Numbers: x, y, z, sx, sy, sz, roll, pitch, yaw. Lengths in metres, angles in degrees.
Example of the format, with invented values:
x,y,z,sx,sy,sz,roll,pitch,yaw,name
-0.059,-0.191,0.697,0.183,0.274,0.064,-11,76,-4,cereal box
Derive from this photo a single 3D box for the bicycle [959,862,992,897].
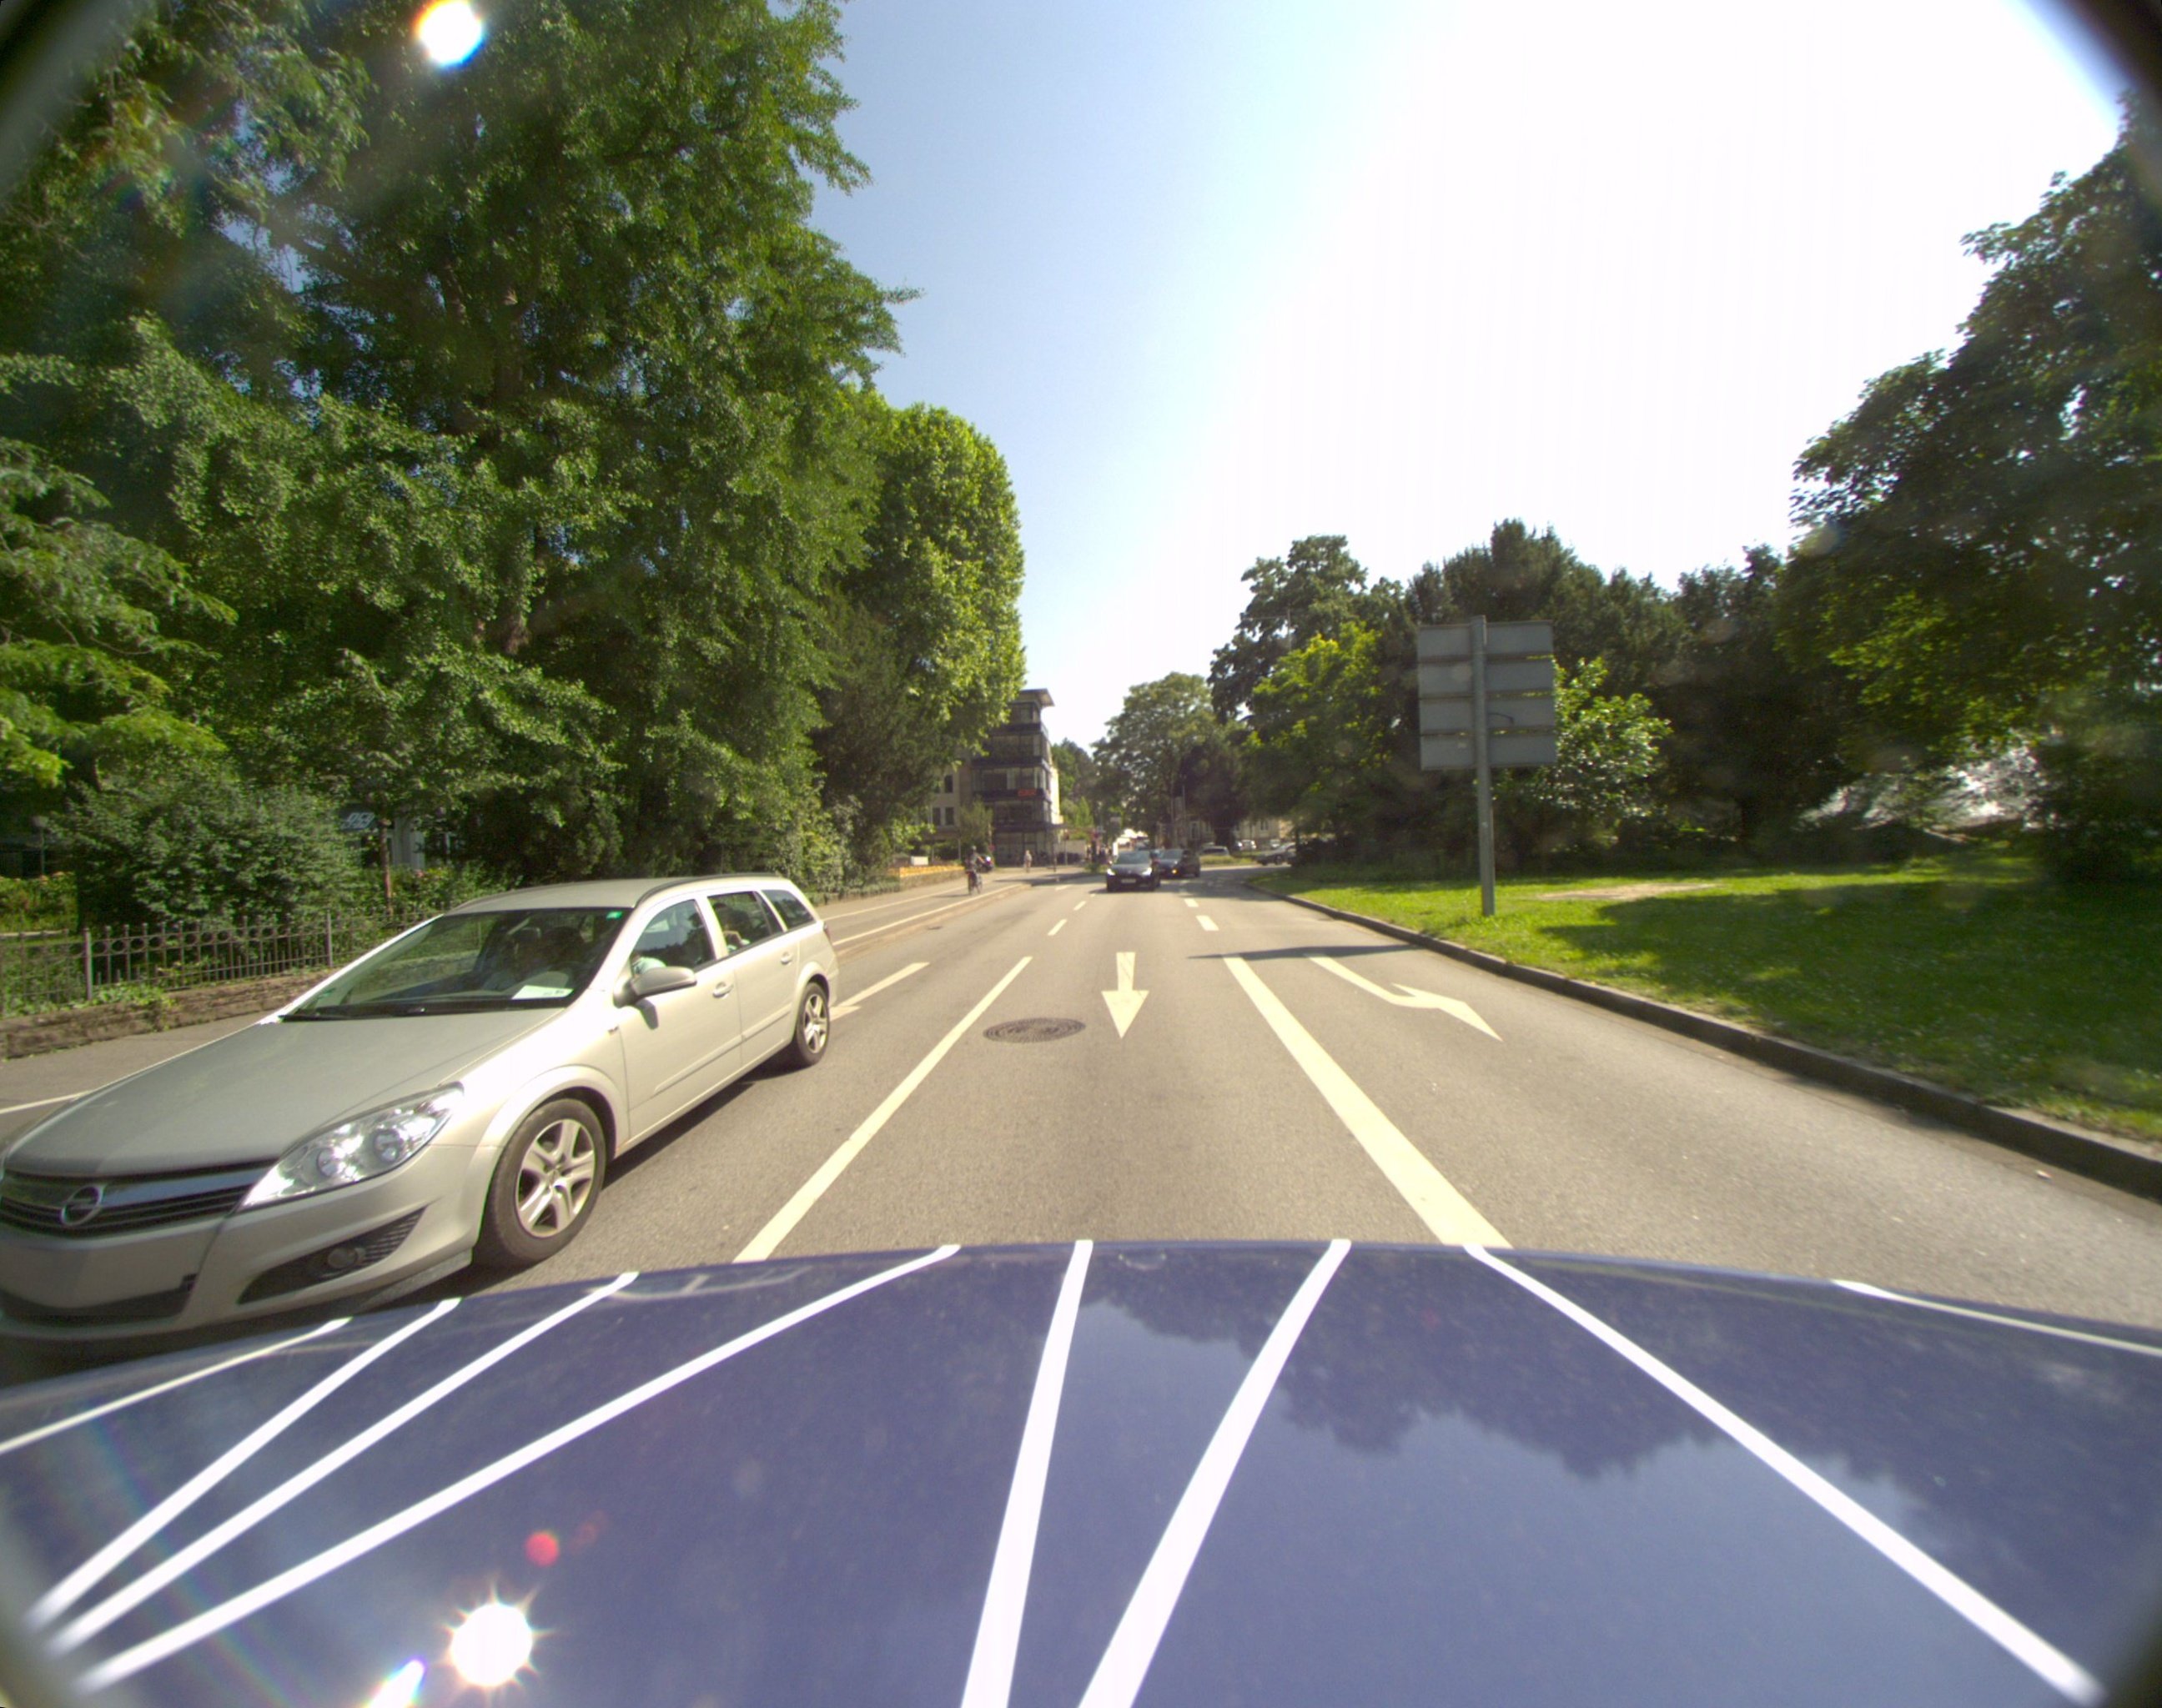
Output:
x,y,z,sx,sy,sz,roll,pitch,yaw,name
-3.716,0.891,26.941,0.759,1.114,2.001,-1,2,2,bicycle

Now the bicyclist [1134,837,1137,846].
x,y,z,sx,sy,sz,roll,pitch,yaw,name
12.635,-2.906,176.046,0.573,2.002,0.908,-2,1,18,bicyclist

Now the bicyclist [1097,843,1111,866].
x,y,z,sx,sy,sz,roll,pitch,yaw,name
1.666,0.031,54.943,0.710,1.603,0.733,-2,1,21,bicyclist

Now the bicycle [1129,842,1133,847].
x,y,z,sx,sy,sz,roll,pitch,yaw,name
11.158,-2.148,170.789,0.566,1.154,1.900,-2,1,11,bicycle

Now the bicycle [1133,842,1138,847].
x,y,z,sx,sy,sz,roll,pitch,yaw,name
12.629,-2.284,176.016,0.566,1.154,1.901,-2,1,16,bicycle

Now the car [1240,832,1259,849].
x,y,z,sx,sy,sz,roll,pitch,yaw,name
20.490,-1.623,92.438,1.849,2.002,4.002,-2,1,7,car

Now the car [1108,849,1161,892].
x,y,z,sx,sy,sz,roll,pitch,yaw,name
2.022,0.568,28.485,1.810,1.443,3.955,-1,0,5,car

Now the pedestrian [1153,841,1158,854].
x,y,z,sx,sy,sz,roll,pitch,yaw,name
9.756,-0.853,99.281,0.602,1.695,0.604,-2,1,4,pedestrian

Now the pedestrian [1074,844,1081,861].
x,y,z,sx,sy,sz,roll,pitch,yaw,name
-0.390,-0.130,78.385,0.602,1.695,0.604,-2,1,9,pedestrian

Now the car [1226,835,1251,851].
x,y,z,sx,sy,sz,roll,pitch,yaw,name
16.762,-1.146,81.168,1.850,1.652,4.000,-2,1,0,car

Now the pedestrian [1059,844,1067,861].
x,y,z,sx,sy,sz,roll,pitch,yaw,name
-1.835,-0.125,76.951,0.602,1.695,0.604,-2,1,9,pedestrian

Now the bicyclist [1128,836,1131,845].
x,y,z,sx,sy,sz,roll,pitch,yaw,name
10.952,-3.017,170.821,0.573,2.003,0.907,-2,3,10,bicyclist

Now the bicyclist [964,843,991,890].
x,y,z,sx,sy,sz,roll,pitch,yaw,name
-3.693,0.430,27.084,0.766,1.627,0.943,-1,2,2,bicyclist

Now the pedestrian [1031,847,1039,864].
x,y,z,sx,sy,sz,roll,pitch,yaw,name
-4.432,0.144,73.359,0.653,1.695,0.646,-3,1,2,pedestrian

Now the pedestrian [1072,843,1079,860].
x,y,z,sx,sy,sz,roll,pitch,yaw,name
-0.551,-0.263,77.253,0.602,1.695,0.604,-2,1,9,pedestrian

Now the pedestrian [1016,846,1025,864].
x,y,z,sx,sy,sz,roll,pitch,yaw,name
-5.899,0.069,73.696,0.690,1.695,0.602,-3,1,3,pedestrian

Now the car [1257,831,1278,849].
x,y,z,sx,sy,sz,roll,pitch,yaw,name
22.611,-1.670,92.250,1.849,2.002,4.002,-2,1,7,car

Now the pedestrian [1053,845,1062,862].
x,y,z,sx,sy,sz,roll,pitch,yaw,name
-2.269,-0.056,73.798,0.701,1.695,0.603,-2,1,5,pedestrian

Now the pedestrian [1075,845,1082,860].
x,y,z,sx,sy,sz,roll,pitch,yaw,name
-0.299,-0.195,84.481,0.602,1.695,0.604,-2,1,4,pedestrian

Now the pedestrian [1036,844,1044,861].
x,y,z,sx,sy,sz,roll,pitch,yaw,name
-4.128,-0.196,76.992,0.602,1.695,0.604,-2,1,9,pedestrian

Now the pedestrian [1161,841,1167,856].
x,y,z,sx,sy,sz,roll,pitch,yaw,name
9.674,-0.635,88.179,0.602,1.695,0.604,-2,1,4,pedestrian

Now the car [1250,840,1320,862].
x,y,z,sx,sy,sz,roll,pitch,yaw,name
14.578,-0.185,54.339,4.554,1.421,1.939,-2,1,-23,car

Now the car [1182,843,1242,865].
x,y,z,sx,sy,sz,roll,pitch,yaw,name
10.483,0.023,60.995,4.416,1.545,1.684,-3,1,-2,car

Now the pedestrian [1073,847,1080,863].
x,y,z,sx,sy,sz,roll,pitch,yaw,name
-0.455,0.065,81.218,0.602,1.695,0.730,-2,1,9,pedestrian

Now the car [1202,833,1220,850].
x,y,z,sx,sy,sz,roll,pitch,yaw,name
15.619,-1.483,91.257,1.849,2.002,4.002,-2,1,7,car

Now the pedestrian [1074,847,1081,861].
x,y,z,sx,sy,sz,roll,pitch,yaw,name
-0.417,-0.025,91.116,0.601,1.587,0.605,-2,1,11,pedestrian

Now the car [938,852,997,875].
x,y,z,sx,sy,sz,roll,pitch,yaw,name
-8.997,0.729,60.332,4.416,1.545,1.684,-3,1,-2,car

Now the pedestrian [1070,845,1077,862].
x,y,z,sx,sy,sz,roll,pitch,yaw,name
-0.777,-0.050,77.755,0.602,1.695,0.604,-2,1,9,pedestrian

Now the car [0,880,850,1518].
x,y,z,sx,sy,sz,roll,pitch,yaw,name
-2.893,1.010,4.213,1.711,1.513,4.407,-2,0,1,car

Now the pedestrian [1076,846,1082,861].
x,y,z,sx,sy,sz,roll,pitch,yaw,name
-0.207,-0.103,86.618,0.602,1.695,0.604,-2,1,4,pedestrian

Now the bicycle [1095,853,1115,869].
x,y,z,sx,sy,sz,roll,pitch,yaw,name
1.755,0.514,54.910,0.710,1.048,2.210,-2,1,21,bicycle

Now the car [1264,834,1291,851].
x,y,z,sx,sy,sz,roll,pitch,yaw,name
20.841,-1.233,80.630,1.850,1.652,4.000,-2,1,0,car

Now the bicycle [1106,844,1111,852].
x,y,z,sx,sy,sz,roll,pitch,yaw,name
4.022,-0.908,110.547,0.566,1.154,1.899,-2,1,4,bicycle

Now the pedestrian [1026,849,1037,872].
x,y,z,sx,sy,sz,roll,pitch,yaw,name
-3.723,0.499,57.411,0.711,1.663,0.534,-2,1,0,pedestrian

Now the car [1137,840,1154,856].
x,y,z,sx,sy,sz,roll,pitch,yaw,name
7.777,-0.689,91.858,1.850,1.778,4.000,3,2,3,car

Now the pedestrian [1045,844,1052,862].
x,y,z,sx,sy,sz,roll,pitch,yaw,name
-3.181,-0.109,74.819,0.604,1.695,0.690,-2,1,1,pedestrian

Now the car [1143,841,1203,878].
x,y,z,sx,sy,sz,roll,pitch,yaw,name
4.705,0.236,38.320,1.886,1.674,4.148,0,2,24,car
